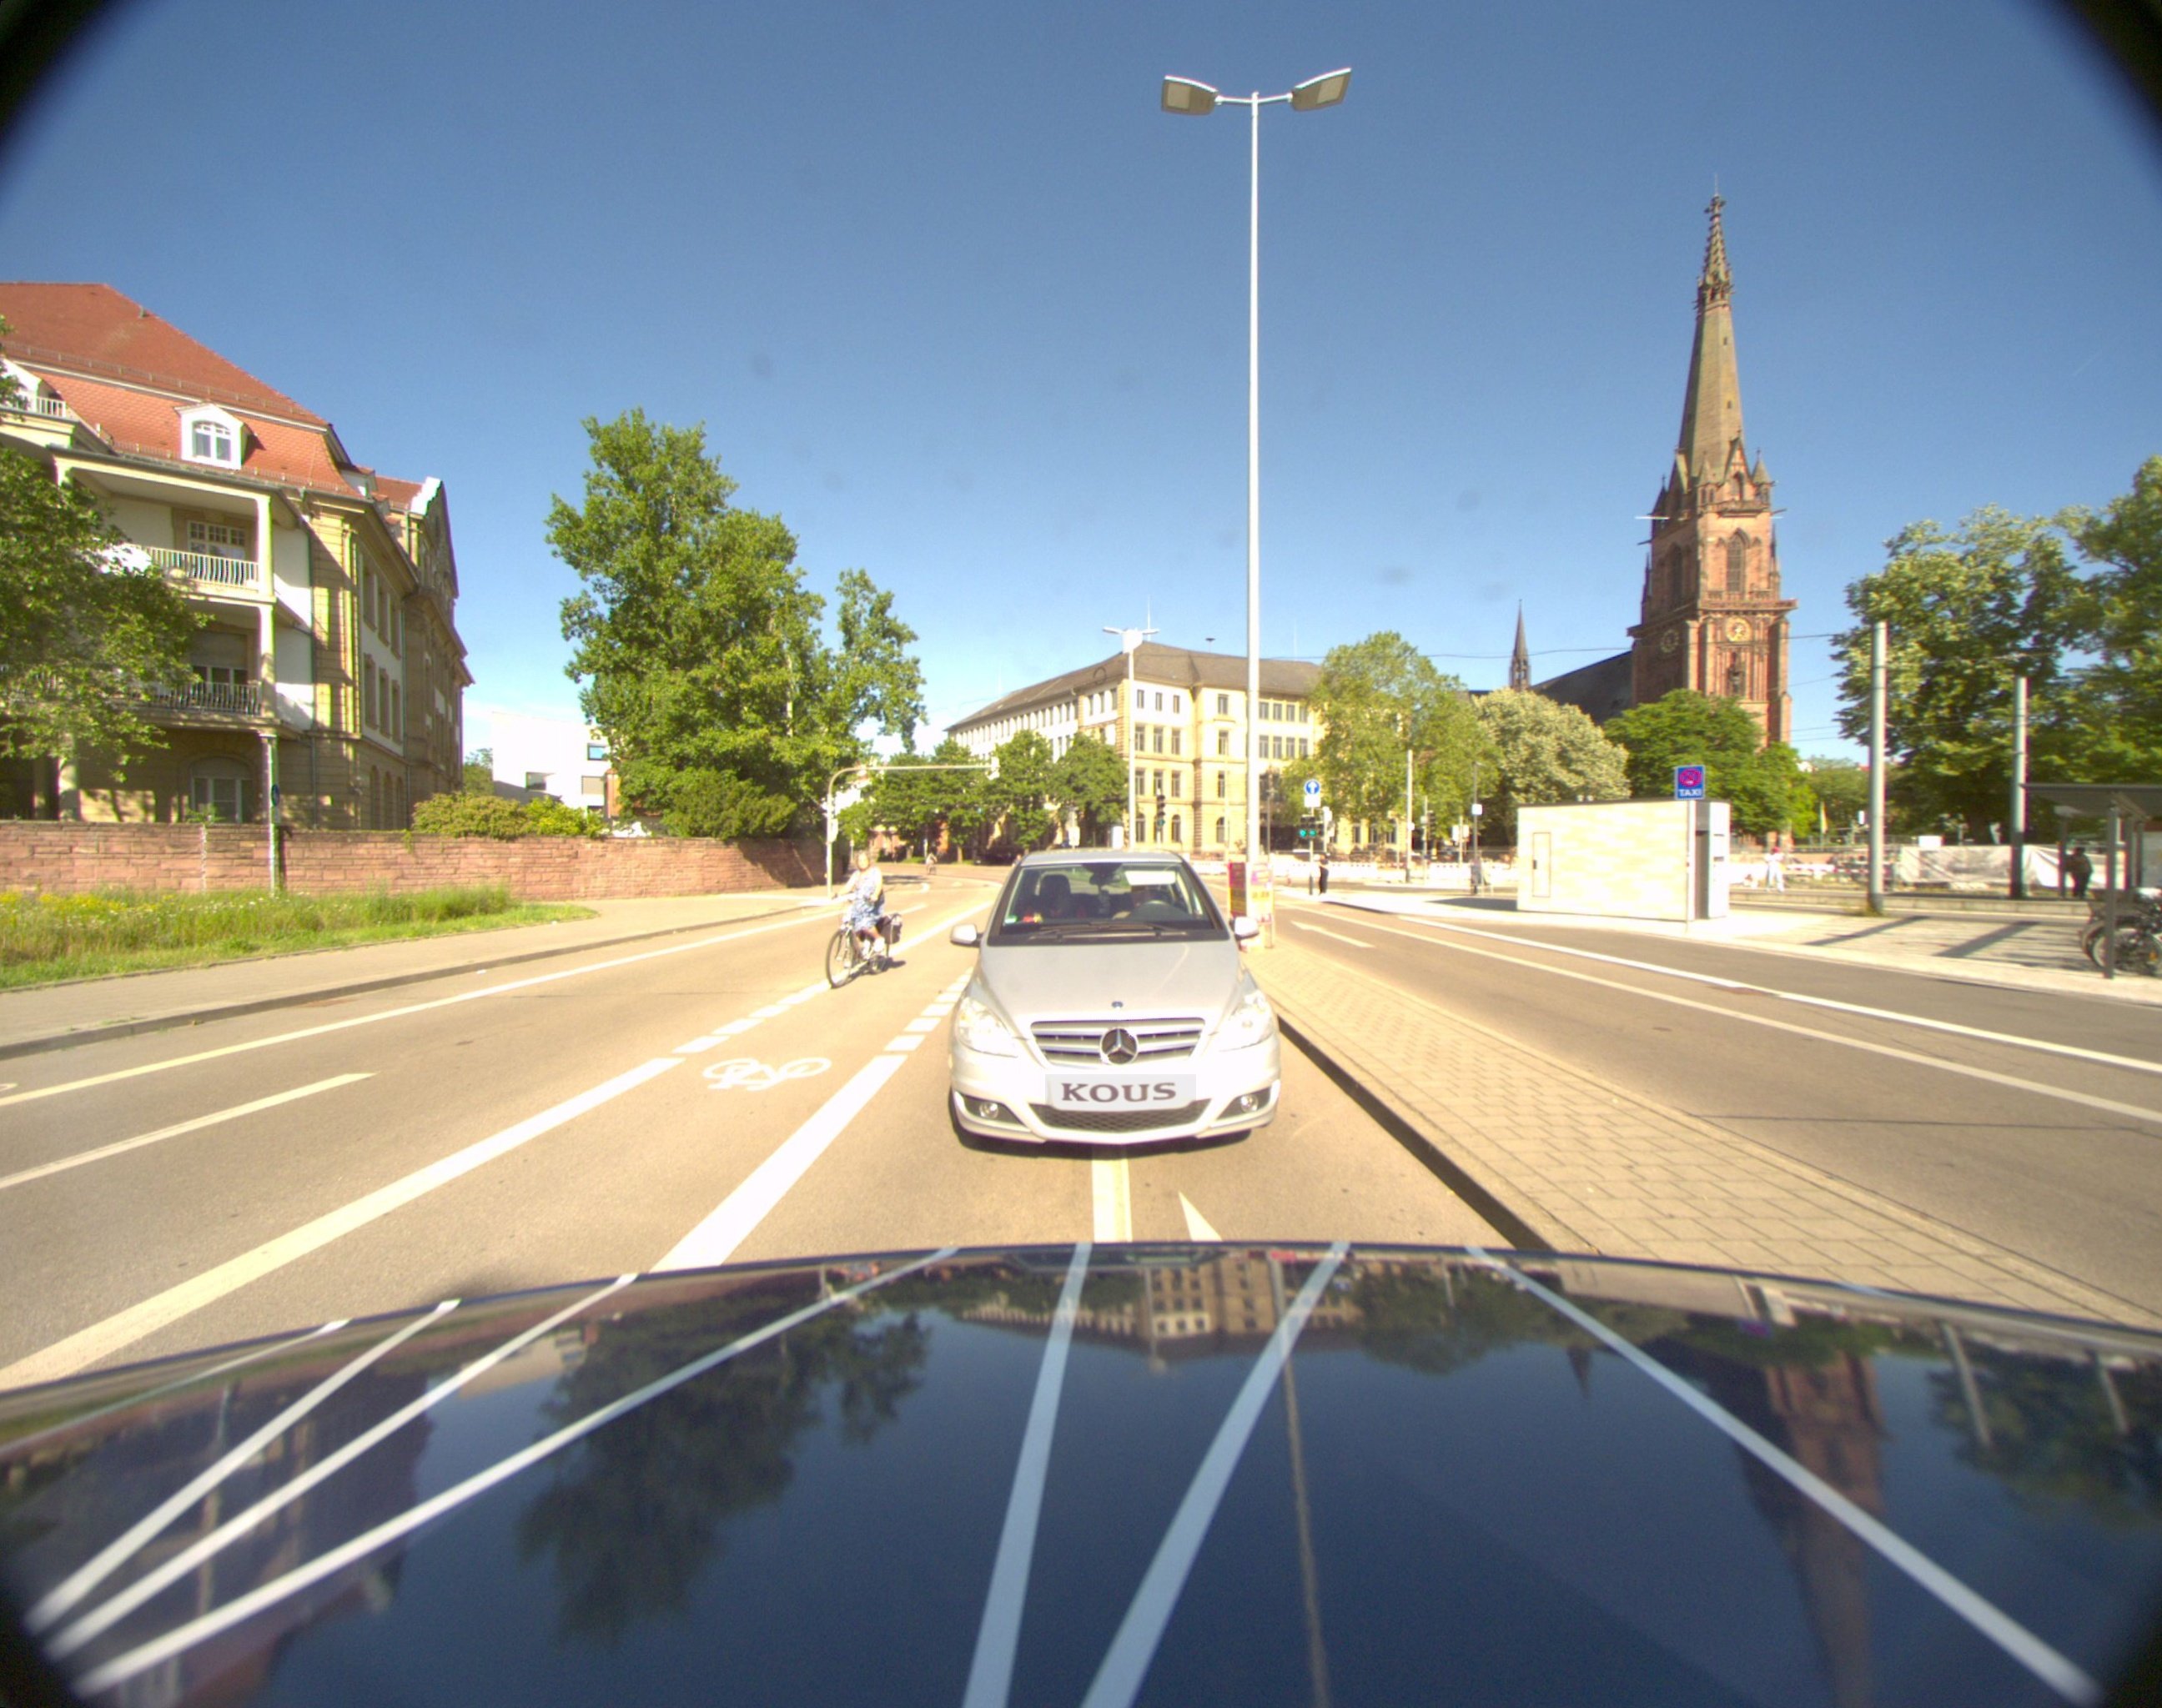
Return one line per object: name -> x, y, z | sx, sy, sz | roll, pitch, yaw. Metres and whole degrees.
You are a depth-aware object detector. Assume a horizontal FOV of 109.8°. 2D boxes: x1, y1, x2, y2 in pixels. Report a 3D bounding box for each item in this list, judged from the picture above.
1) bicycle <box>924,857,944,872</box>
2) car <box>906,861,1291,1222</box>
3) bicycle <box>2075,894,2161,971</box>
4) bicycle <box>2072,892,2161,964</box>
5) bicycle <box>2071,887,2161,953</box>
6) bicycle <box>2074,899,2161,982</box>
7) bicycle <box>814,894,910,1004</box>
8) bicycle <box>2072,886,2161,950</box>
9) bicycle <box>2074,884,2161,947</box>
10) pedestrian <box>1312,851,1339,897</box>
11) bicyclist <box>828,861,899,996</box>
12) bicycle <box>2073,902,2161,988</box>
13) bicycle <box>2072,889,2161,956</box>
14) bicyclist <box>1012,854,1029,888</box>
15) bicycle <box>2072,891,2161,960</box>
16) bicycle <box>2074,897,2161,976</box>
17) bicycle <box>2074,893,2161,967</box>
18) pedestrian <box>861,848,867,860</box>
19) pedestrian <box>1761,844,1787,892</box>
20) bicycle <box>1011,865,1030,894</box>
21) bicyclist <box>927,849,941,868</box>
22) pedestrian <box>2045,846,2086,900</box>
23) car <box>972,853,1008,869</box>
bicycle -> -11.723, 0.864, 60.447 | 0.780, 1.158, 1.962 | -2, 1, -37
car -> 0.133, 0.905, 5.855 | 1.770, 1.584, 4.638 | -1, 1, 1
bicycle -> 15.700, 1.152, 10.856 | 0.569, 1.032, 1.783 | 1, 1, -37
bicycle -> 16.676, 1.161, 11.640 | 0.569, 1.032, 1.783 | 1, 1, -37
bicycle -> 18.166, 1.129, 12.792 | 0.569, 1.032, 1.783 | 1, 1, -37
bicycle -> 14.543, 1.170, 9.985 | 0.569, 1.032, 1.783 | 1, 1, -37
bicycle -> -2.782, 1.167, 9.864 | 0.642, 1.158, 1.968 | -1, 1, 1
bicycle -> 18.651, 1.118, 13.154 | 0.569, 1.032, 1.783 | 1, 1, -37
bicycle -> 19.136, 1.107, 13.499 | 0.569, 1.032, 1.783 | 1, 1, -37
pedestrian -> 9.278, 0.755, 28.875 | 0.789, 1.671, 0.648 | -2, 1, 2
bicyclist -> -2.786, 0.925, 9.793 | 0.643, 1.653, 0.776 | -1, 2, 1
bicycle -> 14.018, 1.189, 9.594 | 0.569, 1.032, 1.783 | 1, 1, -37
bicycle -> 17.694, 1.141, 12.426 | 0.569, 1.032, 1.783 | 1, 1, -37
bicyclist -> -2.591, 0.704, 32.634 | 0.643, 1.436, 0.953 | -1, 0, 1
bicycle -> 17.168, 1.152, 12.014 | 0.569, 1.032, 1.783 | 1, 1, -37
bicycle -> 15.147, 1.164, 10.443 | 0.569, 1.032, 1.783 | 1, 1, -37
bicycle -> 16.198, 1.152, 11.248 | 0.569, 1.032, 1.783 | 1, 1, -37
pedestrian -> -29.091, -0.021, 101.994 | 0.637, 1.602, 0.845 | -3, 1, -24
pedestrian -> 25.235, 0.534, 27.666 | 0.537, 1.712, 0.684 | -1, -4, 31
bicycle -> -2.587, 1.077, 32.722 | 0.642, 1.158, 1.870 | -1, 0, 1
bicyclist -> -11.688, 0.363, 60.368 | 0.780, 1.543, 0.917 | -2, 1, -37
pedestrian -> 30.584, 0.583, 23.606 | 0.567, 1.645, 0.518 | -2, 1, 1
car -> -10.818, 0.787, 90.489 | 1.994, 1.805, 3.809 | 1, 1, 44
